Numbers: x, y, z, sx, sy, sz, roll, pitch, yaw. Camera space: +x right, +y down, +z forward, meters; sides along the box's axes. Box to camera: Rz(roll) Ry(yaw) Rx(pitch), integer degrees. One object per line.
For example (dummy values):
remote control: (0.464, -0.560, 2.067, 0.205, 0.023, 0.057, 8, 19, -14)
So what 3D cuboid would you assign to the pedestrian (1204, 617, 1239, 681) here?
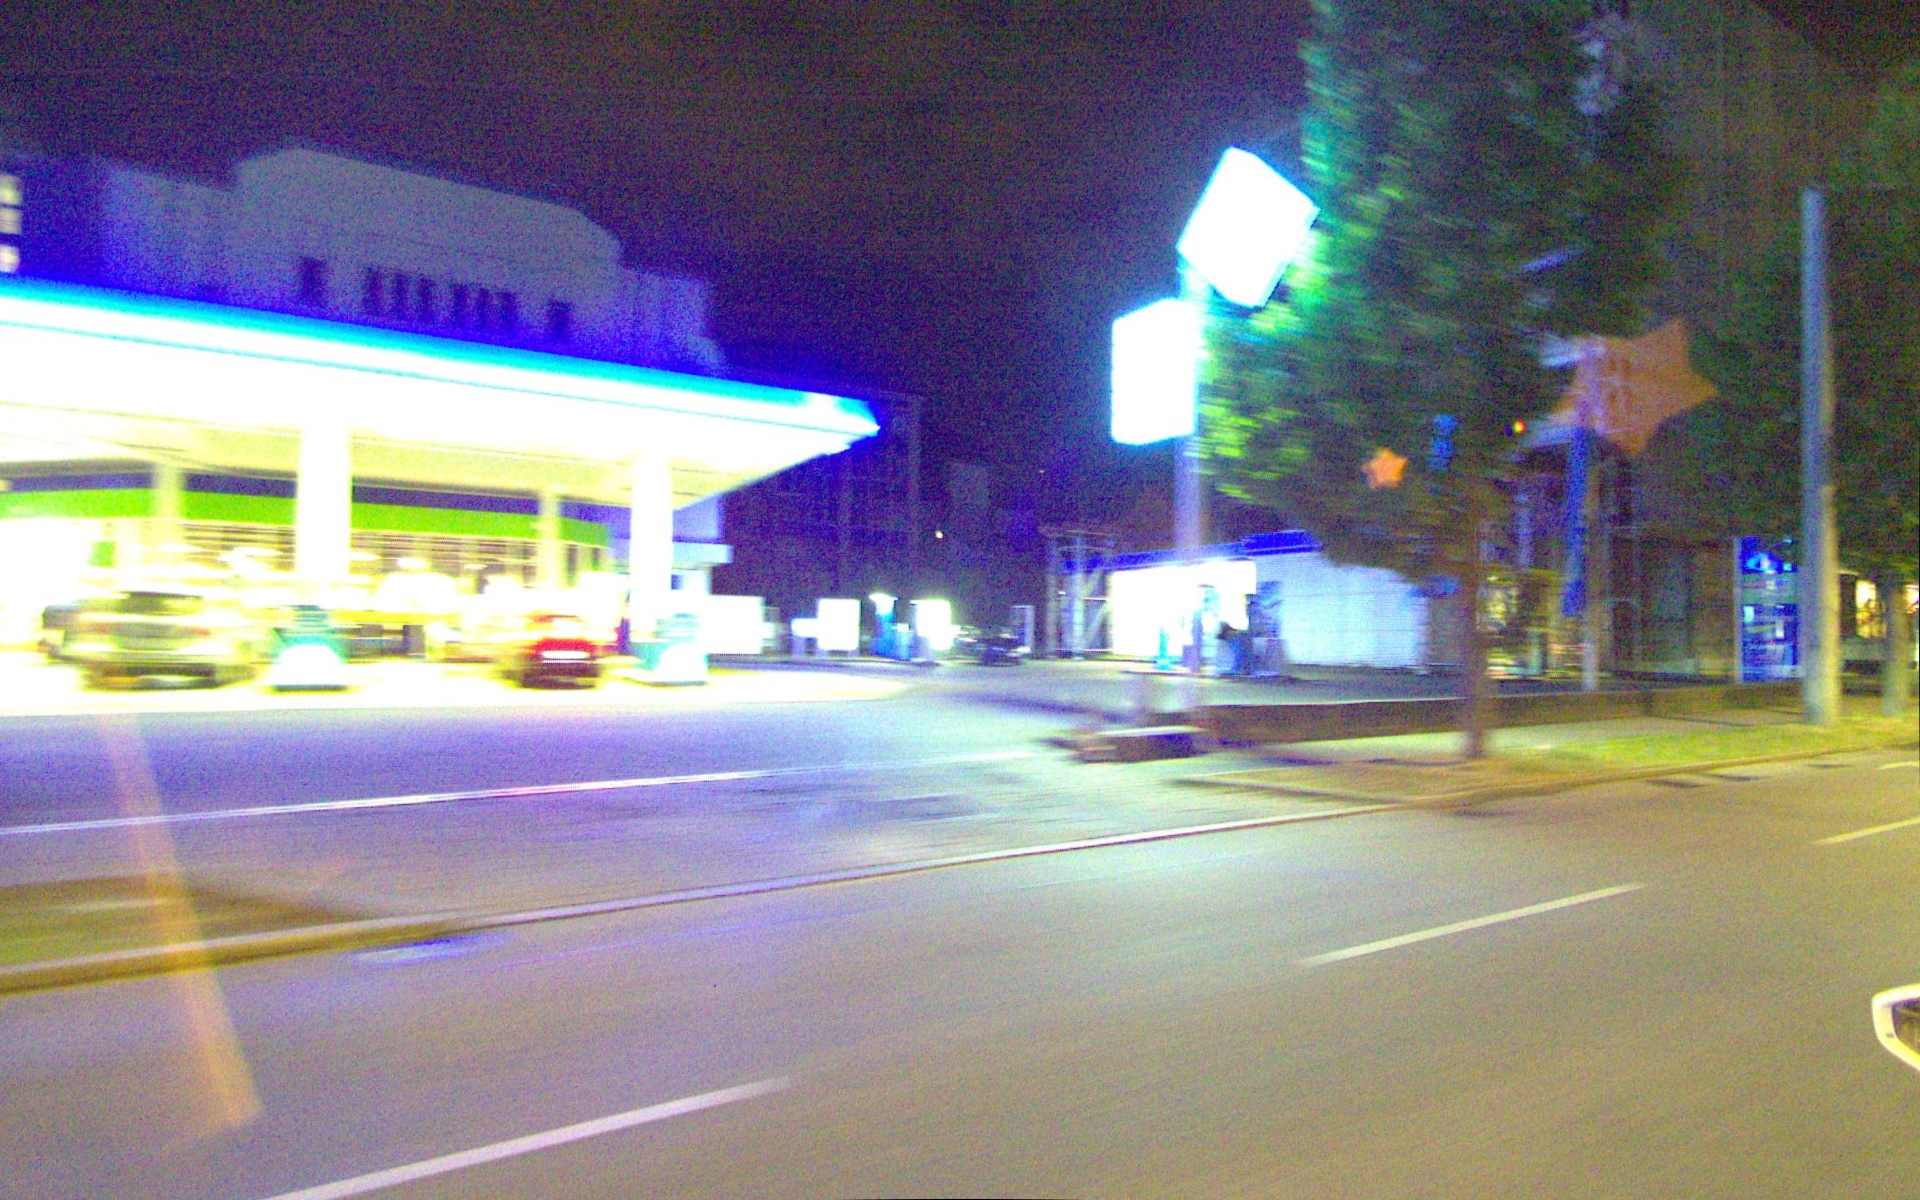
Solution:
pedestrian: (6.688, 1.254, 25.710, 0.636, 1.627, 0.572, 2, -3, -32)

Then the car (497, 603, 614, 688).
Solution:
car: (-8.302, 0.901, 20.458, 1.651, 1.553, 3.731, 1, -2, -31)

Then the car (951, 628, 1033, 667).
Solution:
car: (1.139, 1.711, 36.760, 1.557, 1.282, 3.132, 1, -1, -31)

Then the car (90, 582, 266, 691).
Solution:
car: (-14.155, 0.655, 18.448, 1.956, 1.750, 4.324, 1, -2, -31)
